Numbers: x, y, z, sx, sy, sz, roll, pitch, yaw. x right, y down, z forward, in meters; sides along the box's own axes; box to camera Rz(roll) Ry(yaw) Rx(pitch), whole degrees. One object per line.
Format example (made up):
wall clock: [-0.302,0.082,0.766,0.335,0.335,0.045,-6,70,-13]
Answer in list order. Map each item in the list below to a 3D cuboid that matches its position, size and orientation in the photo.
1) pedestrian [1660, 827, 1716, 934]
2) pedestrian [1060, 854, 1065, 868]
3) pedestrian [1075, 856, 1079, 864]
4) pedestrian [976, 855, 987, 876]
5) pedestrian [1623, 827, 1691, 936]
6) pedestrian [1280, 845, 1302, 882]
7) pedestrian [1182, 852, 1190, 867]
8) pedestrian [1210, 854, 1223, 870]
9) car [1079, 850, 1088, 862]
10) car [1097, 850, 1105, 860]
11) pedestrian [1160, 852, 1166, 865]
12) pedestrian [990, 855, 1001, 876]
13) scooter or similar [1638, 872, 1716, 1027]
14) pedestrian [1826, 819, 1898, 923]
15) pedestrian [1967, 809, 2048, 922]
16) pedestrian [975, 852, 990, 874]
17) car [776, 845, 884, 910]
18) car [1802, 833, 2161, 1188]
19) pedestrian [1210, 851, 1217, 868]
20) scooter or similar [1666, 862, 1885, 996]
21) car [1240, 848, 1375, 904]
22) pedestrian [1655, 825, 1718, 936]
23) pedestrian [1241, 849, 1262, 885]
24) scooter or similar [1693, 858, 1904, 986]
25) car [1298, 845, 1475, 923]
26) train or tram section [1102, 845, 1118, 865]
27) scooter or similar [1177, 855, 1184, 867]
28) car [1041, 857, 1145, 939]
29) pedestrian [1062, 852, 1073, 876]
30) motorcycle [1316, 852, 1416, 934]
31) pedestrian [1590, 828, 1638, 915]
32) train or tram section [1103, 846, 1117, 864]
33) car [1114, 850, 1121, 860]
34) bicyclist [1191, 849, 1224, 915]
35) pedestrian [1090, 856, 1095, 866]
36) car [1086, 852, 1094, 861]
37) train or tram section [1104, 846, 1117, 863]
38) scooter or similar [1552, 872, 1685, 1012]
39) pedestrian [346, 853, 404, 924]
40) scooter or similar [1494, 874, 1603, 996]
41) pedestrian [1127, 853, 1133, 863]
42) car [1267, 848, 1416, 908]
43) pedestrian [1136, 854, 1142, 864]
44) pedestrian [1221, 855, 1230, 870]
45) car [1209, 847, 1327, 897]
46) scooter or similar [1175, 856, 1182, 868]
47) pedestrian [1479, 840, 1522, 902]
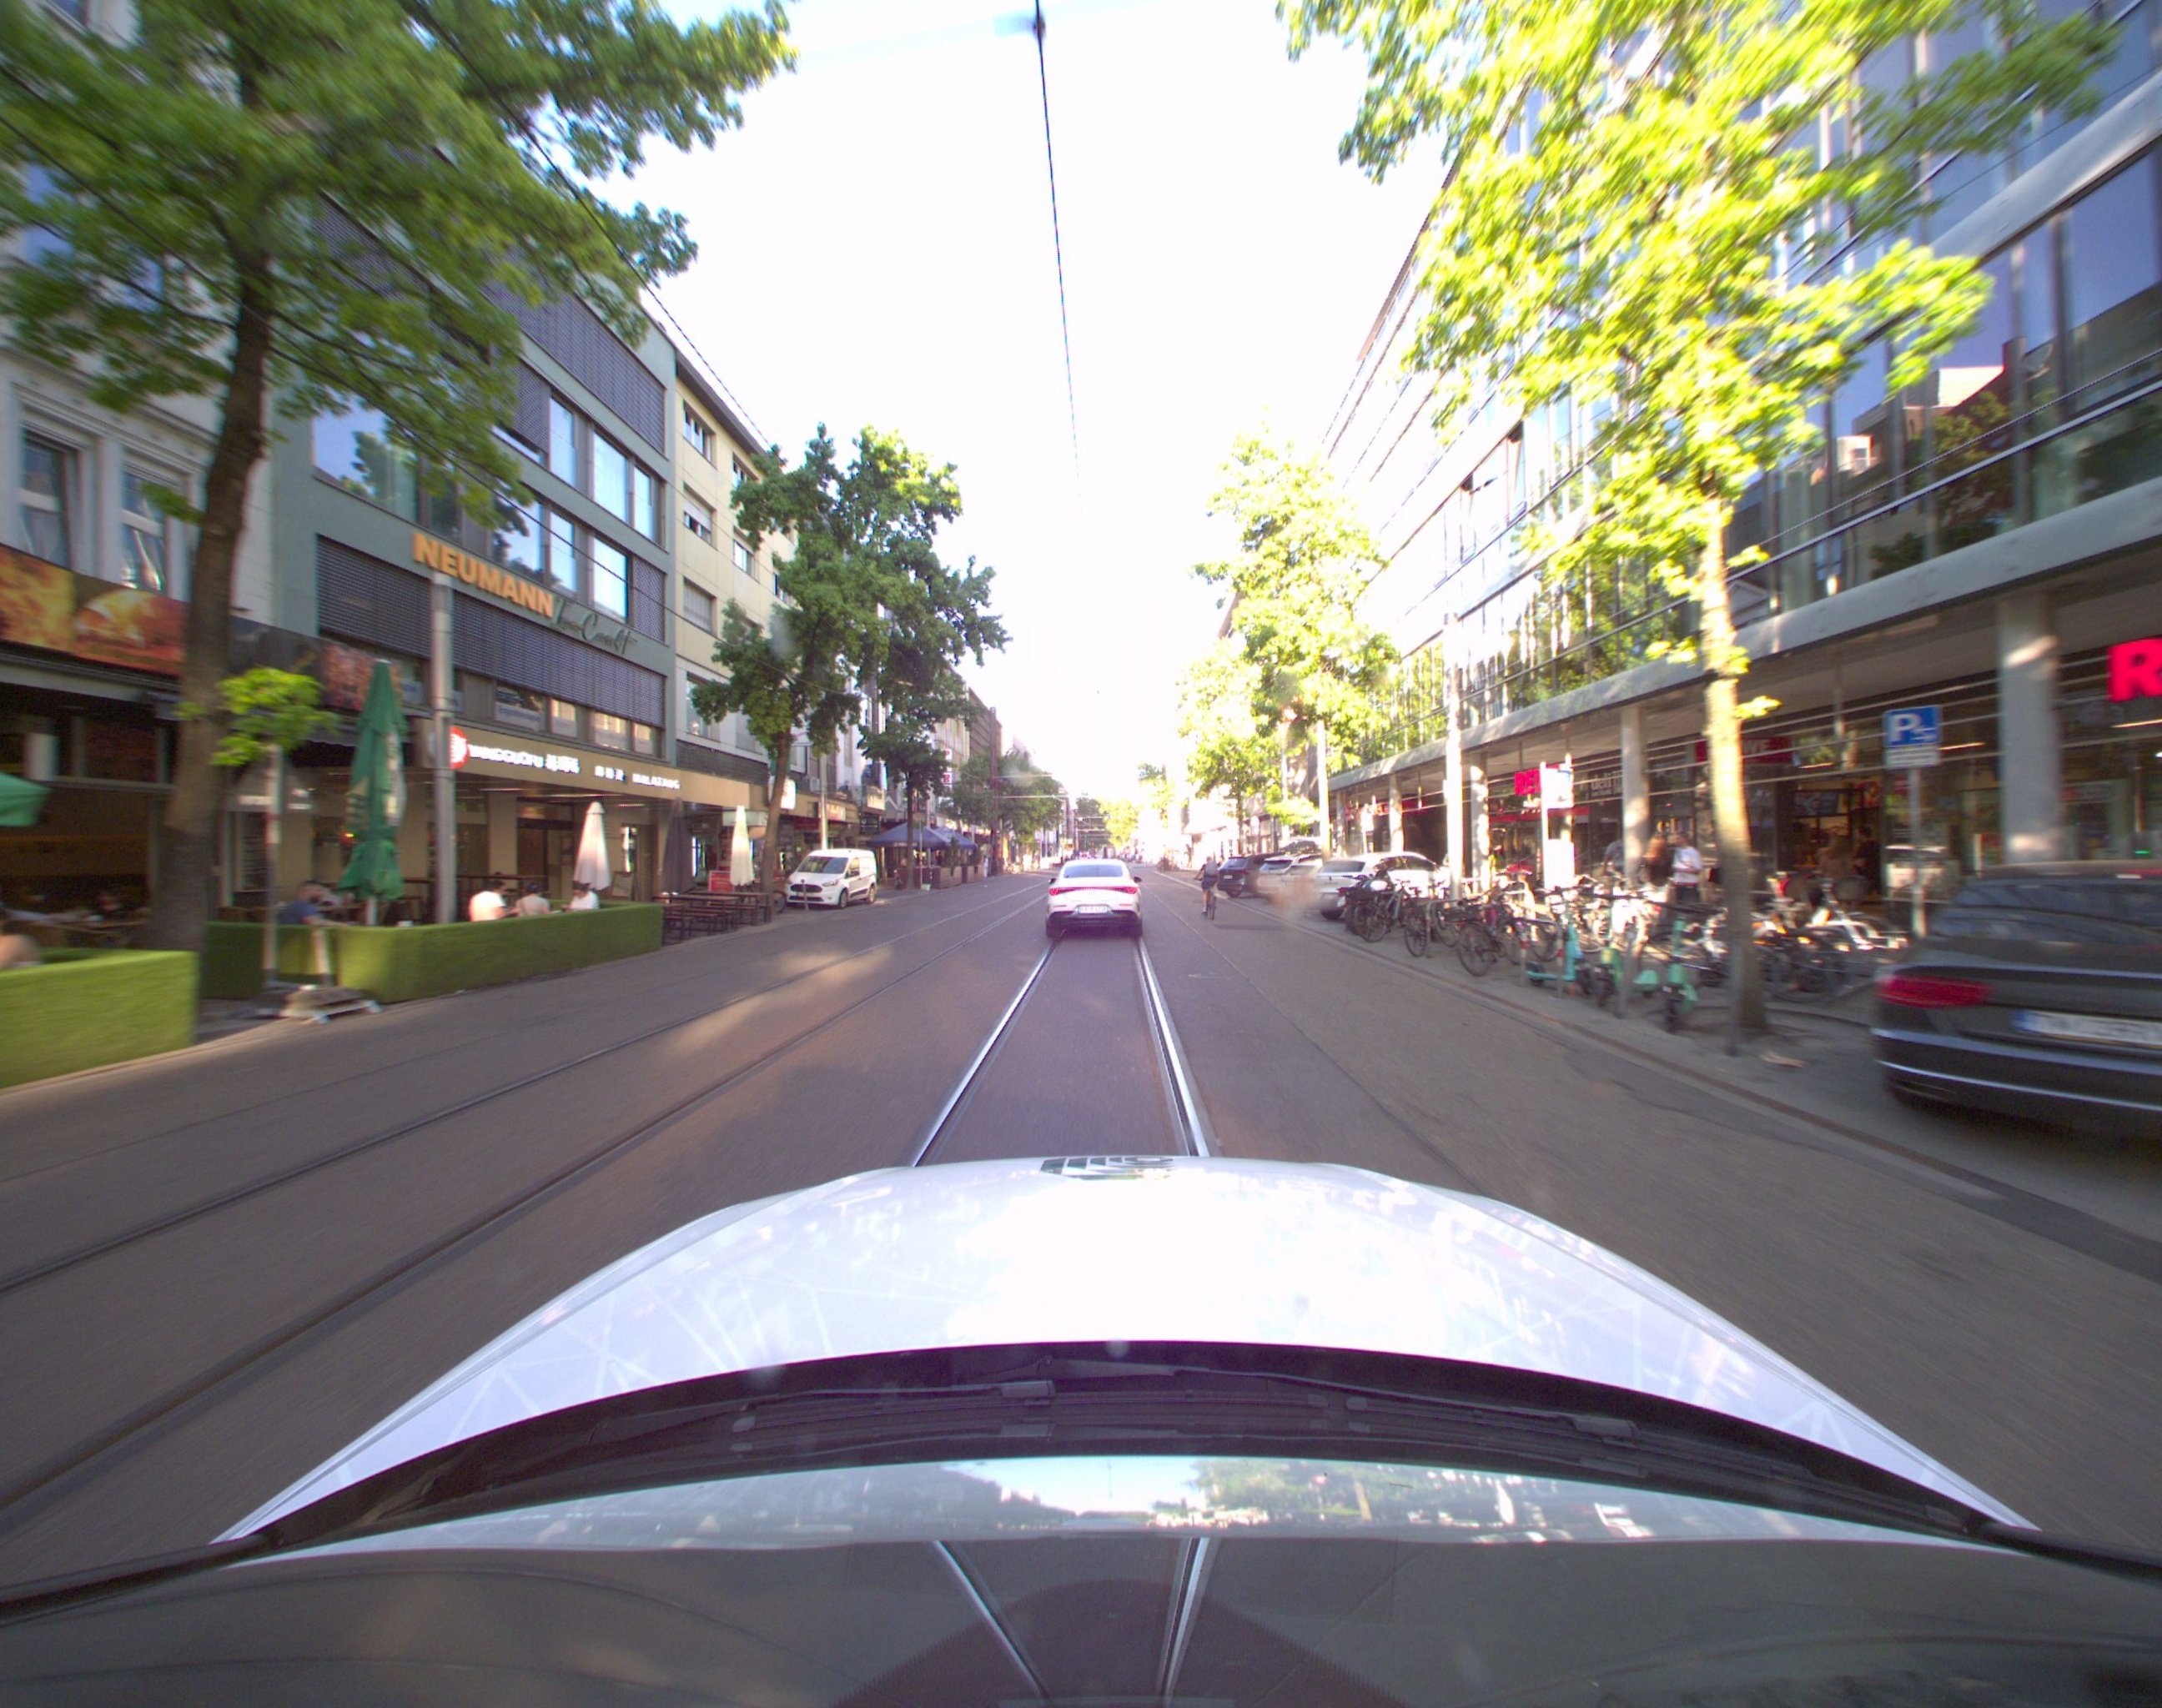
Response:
pedestrian: [9.903,0.425,13.302,0.514,1.696,0.551,-1,0,6]
pedestrian: [-2.556,0.945,111.284,0.570,1.929,0.540,-1,0,-3]
pedestrian: [-0.702,1.181,154.927,0.657,1.599,0.573,-1,0,1]
pedestrian: [-7.129,0.824,58.596,0.620,1.509,0.834,1,0,2]
pedestrian: [9.230,0.428,13.061,0.679,1.696,0.548,-1,0,-11]
pedestrian: [10.115,0.470,39.248,0.680,1.731,0.636,-4,-1,44]
pedestrian: [12.585,0.646,97.793,0.698,1.812,1.033,-4,0,2]
pedestrian: [11.797,0.697,70.697,0.836,1.377,0.772,0,0,-21]
car: [0.535,0.555,201.770,1.985,2.897,5.278,-1,0,3]
car: [6.180,0.396,252.490,2.091,2.897,5.278,-1,0,3]
pedestrian: [11.484,0.619,113.862,0.746,1.785,0.767,-3,0,1]
pedestrian: [-6.147,0.823,58.699,0.620,1.550,0.853,1,0,2]
scooter or similar: [5.721,0.863,7.794,0.452,1.276,1.315,-5,-1,39]
pedestrian: [13.624,0.288,14.220,0.595,1.743,0.626,-2,0,1]
pedestrian: [14.728,0.189,12.963,0.592,1.743,0.630,-2,0,26]
pedestrian: [-8.051,0.748,66.533,0.842,1.741,0.839,1,0,22]
car: [-8.007,0.707,26.467,1.788,1.864,4.557,2,0,3]
car: [6.922,0.690,5.391,5.082,1.469,1.956,-4,0,-34]
pedestrian: [13.081,0.530,80.310,0.634,1.653,0.781,-1,0,3]
scooter or similar: [7.549,0.774,8.927,0.634,1.293,1.662,-3,0,-35]
car: [7.661,0.706,27.499,4.262,1.587,1.866,-3,0,-29]
pedestrian: [9.885,0.431,13.301,0.521,1.750,0.559,-3,-1,4]
pedestrian: [8.265,0.604,39.385,0.672,1.685,0.700,-3,0,35]
scooter or similar: [8.084,0.737,9.251,0.565,1.293,1.662,-3,0,-35]
car: [7.525,0.677,19.998,4.174,1.571,1.836,-3,0,-31]
train or tram section: [5.413,0.143,151.131,2.684,3.516,12.551,-1,0,2]
scooter or similar: [10.326,0.722,84.887,0.491,1.277,0.658,-3,0,-9]
car: [0.287,0.788,16.542,1.850,1.455,4.177,0,0,2]
pedestrian: [-1.058,0.782,64.075,0.838,1.801,0.791,1,0,3]
motorcycle: [5.940,0.775,16.877,2.332,1.510,0.849,-3,-1,-42]
pedestrian: [11.023,0.365,16.868,0.555,1.750,0.525,-3,-1,2]
train or tram section: [5.923,0.170,163.680,2.684,3.516,12.551,-1,0,2]
car: [11.370,0.345,252.665,2.091,2.897,5.288,-1,0,3]
bicyclist: [3.213,0.683,20.626,0.772,1.613,0.915,1,0,11]
pedestrian: [1.924,1.201,137.590,0.797,1.782,0.849,1,0,1]
car: [2.514,0.750,220.515,1.902,2.461,5.278,-1,0,3]
train or tram section: [6.397,0.201,175.518,2.684,3.516,11.149,-1,0,2]
scooter or similar: [5.681,0.886,8.598,1.311,1.276,0.559,-4,-1,-30]
pedestrian: [-17.017,0.823,19.646,0.695,1.650,0.734,2,0,4]
scooter or similar: [5.444,0.901,9.562,0.449,1.276,1.307,-5,-1,1]
pedestrian: [8.715,0.768,146.082,0.957,1.785,0.804,-3,0,1]
car: [7.902,0.696,24.702,4.163,1.499,1.676,-3,0,-22]
pedestrian: [10.587,0.878,147.810,0.957,1.785,0.804,-3,0,1]
pedestrian: [11.919,0.716,67.180,0.663,1.198,0.786,-1,0,7]
car: [7.226,0.672,31.370,4.369,1.652,1.678,-3,0,-29]
scooter or similar: [10.238,0.822,85.513,0.527,1.277,0.658,-3,0,-9]
pedestrian: [11.463,0.449,22.276,0.711,1.624,0.883,-2,0,3]
